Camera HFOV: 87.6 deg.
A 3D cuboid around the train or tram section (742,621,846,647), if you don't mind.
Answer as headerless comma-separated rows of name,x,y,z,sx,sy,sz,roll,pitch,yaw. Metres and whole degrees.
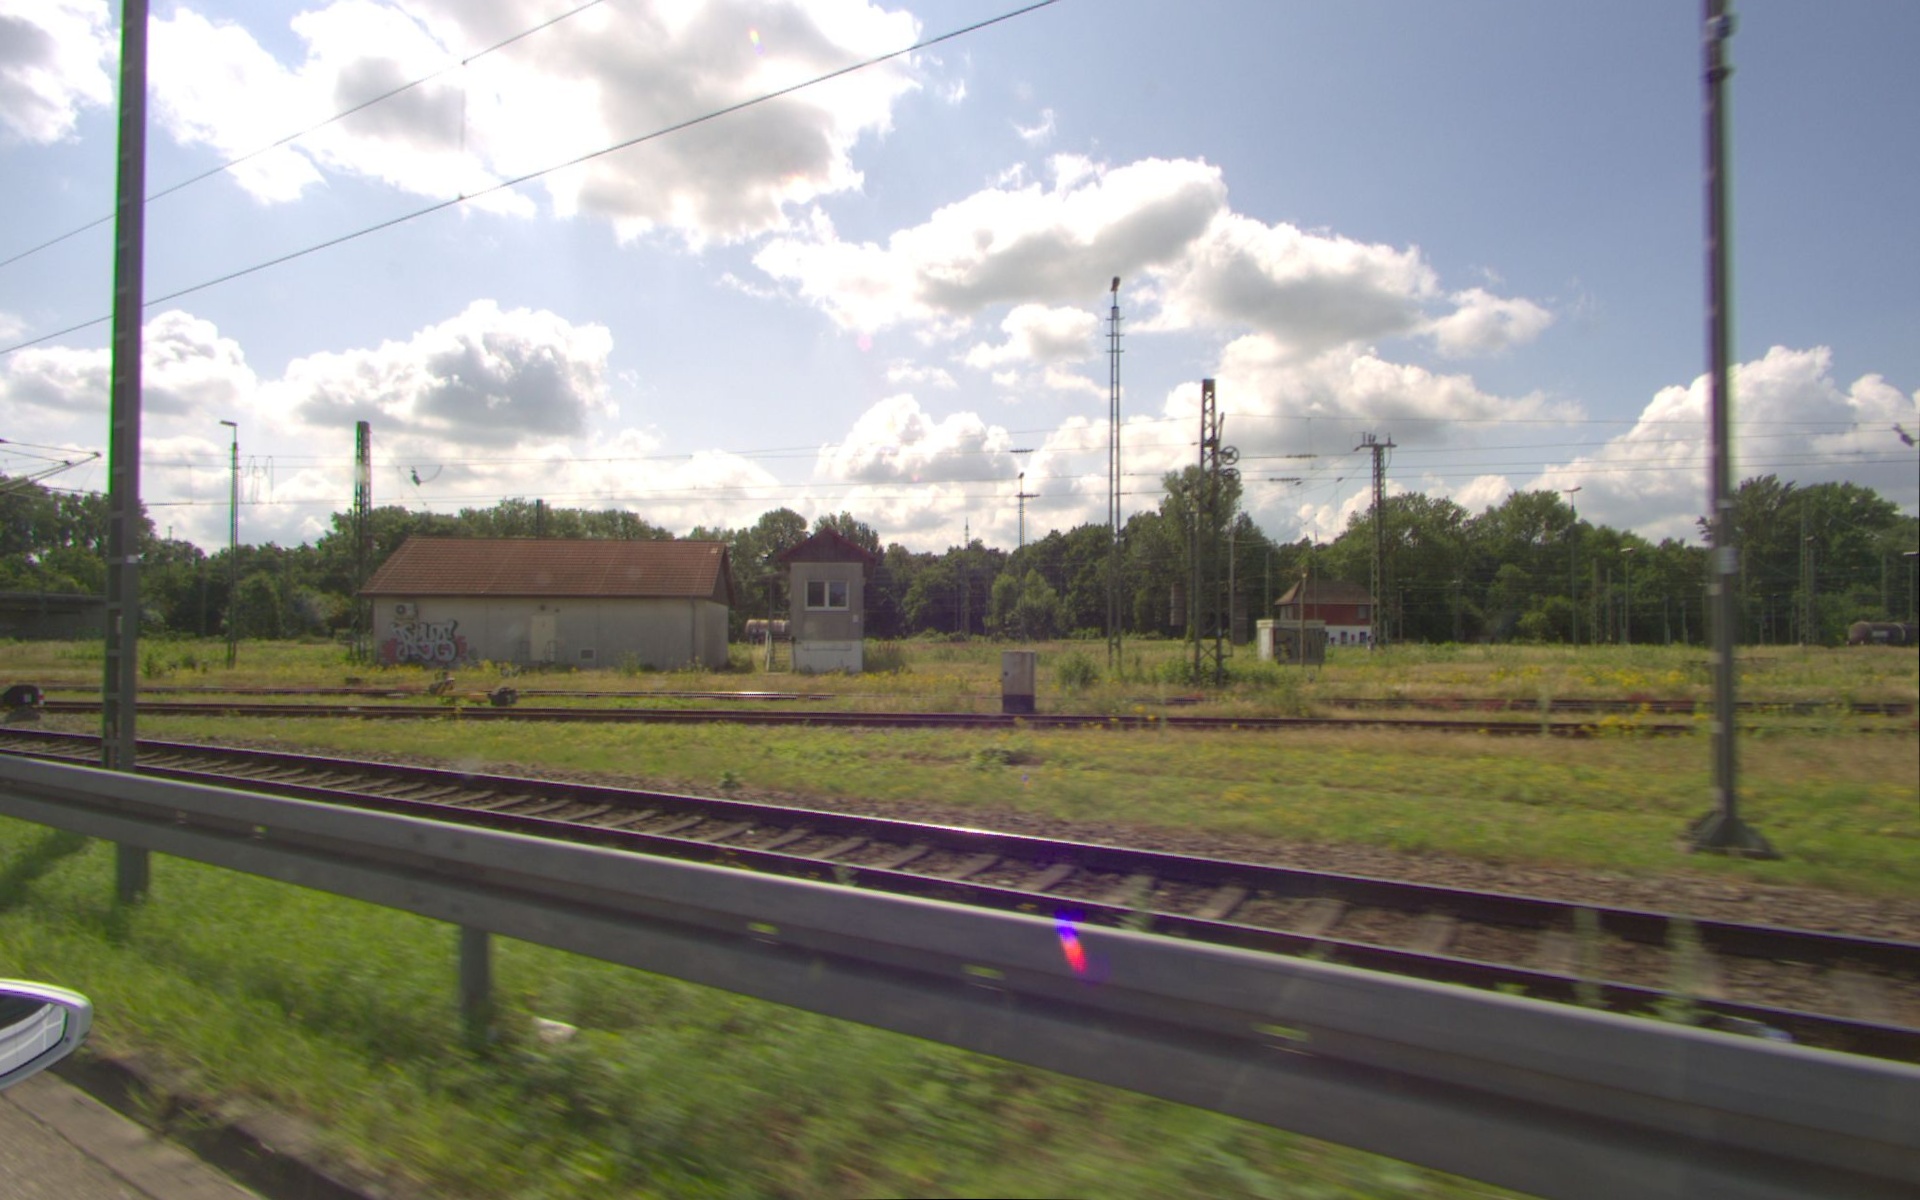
train or tram section,-22.169,4.564,134.362,13.672,3.347,3.035,0,-2,-7
